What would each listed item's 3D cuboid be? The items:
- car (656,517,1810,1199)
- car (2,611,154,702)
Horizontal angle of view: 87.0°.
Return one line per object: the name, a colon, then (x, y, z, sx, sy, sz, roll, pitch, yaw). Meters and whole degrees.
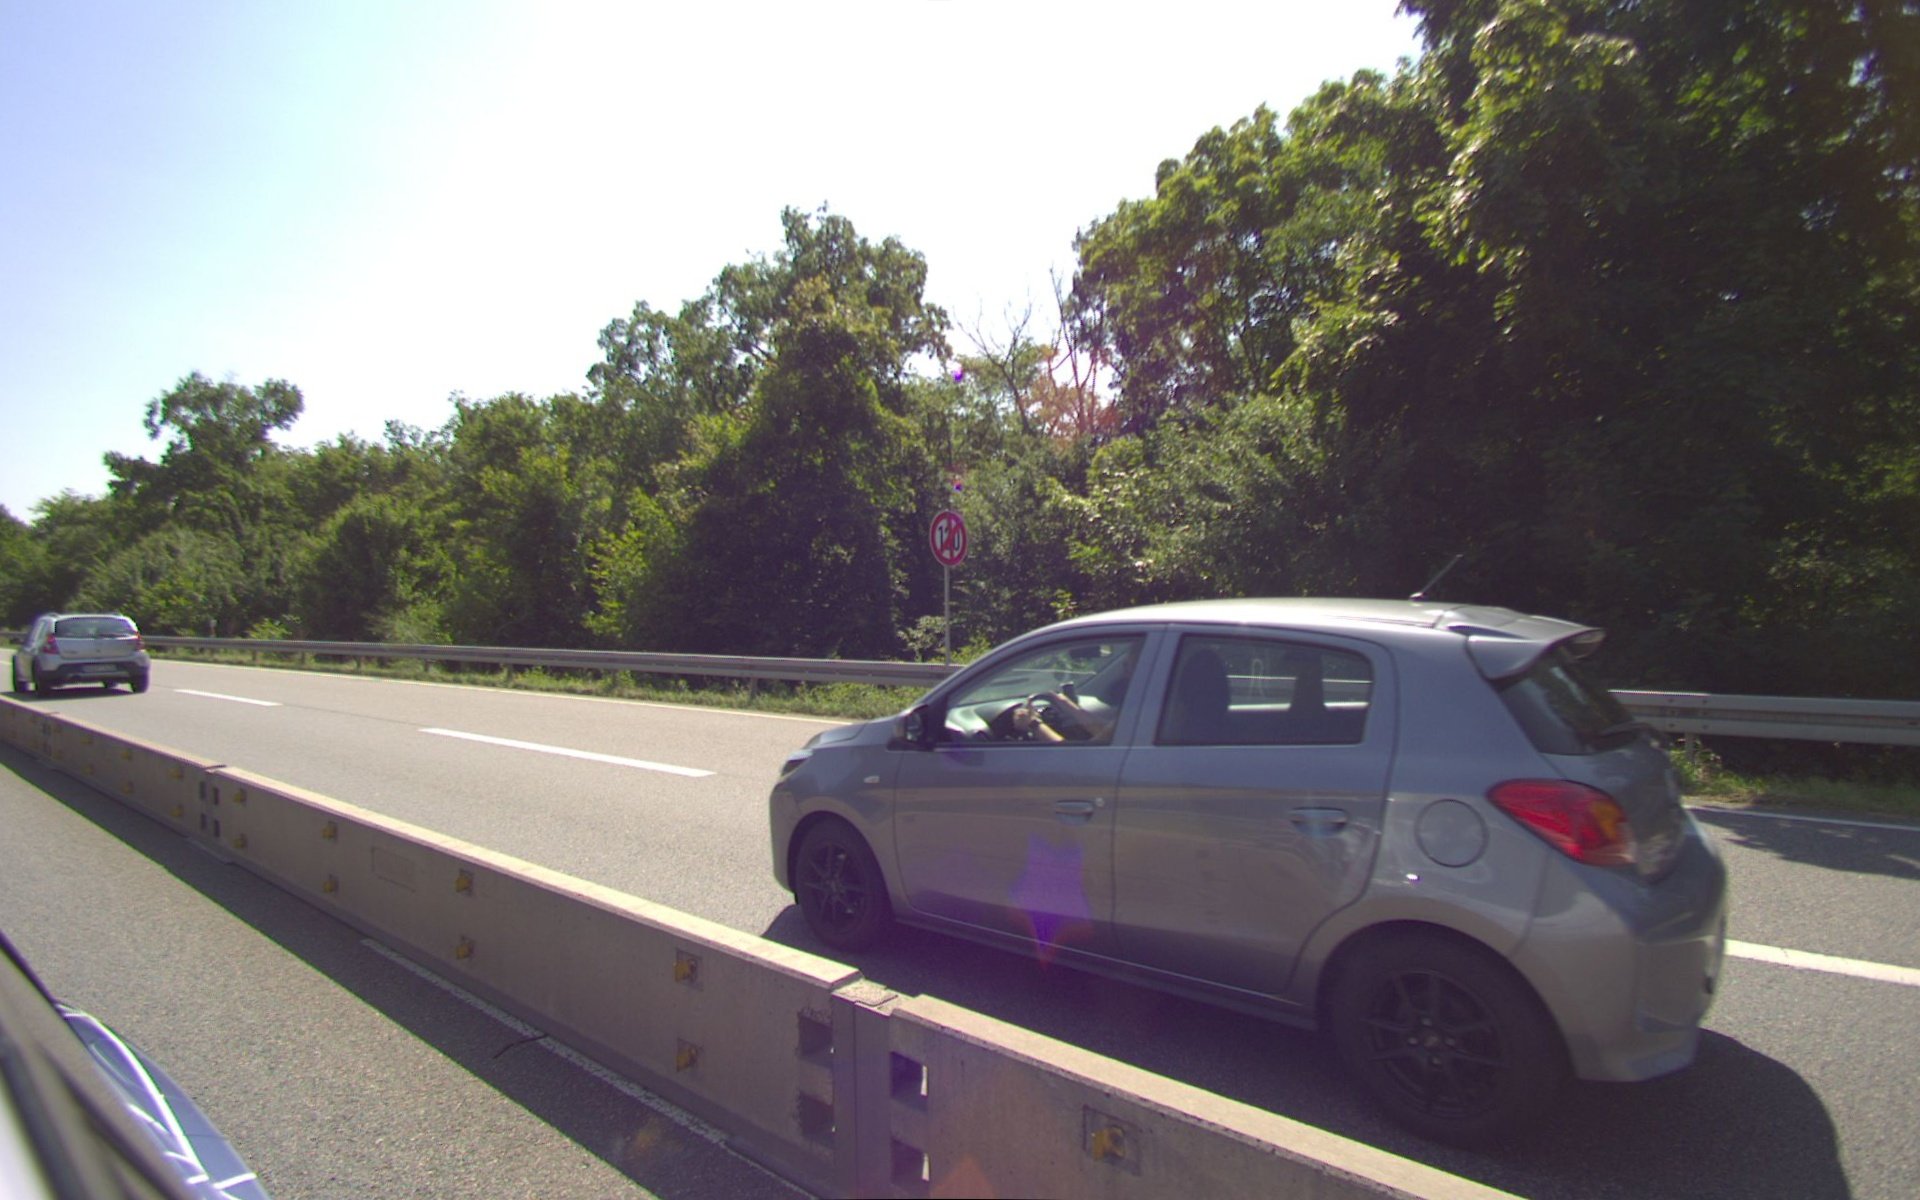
car: (0.742, 0.635, 4.379, 4.434, 1.591, 1.928, -1, 0, 42)
car: (-17.789, 1.074, 20.364, 3.782, 1.642, 1.810, -2, -1, 41)
